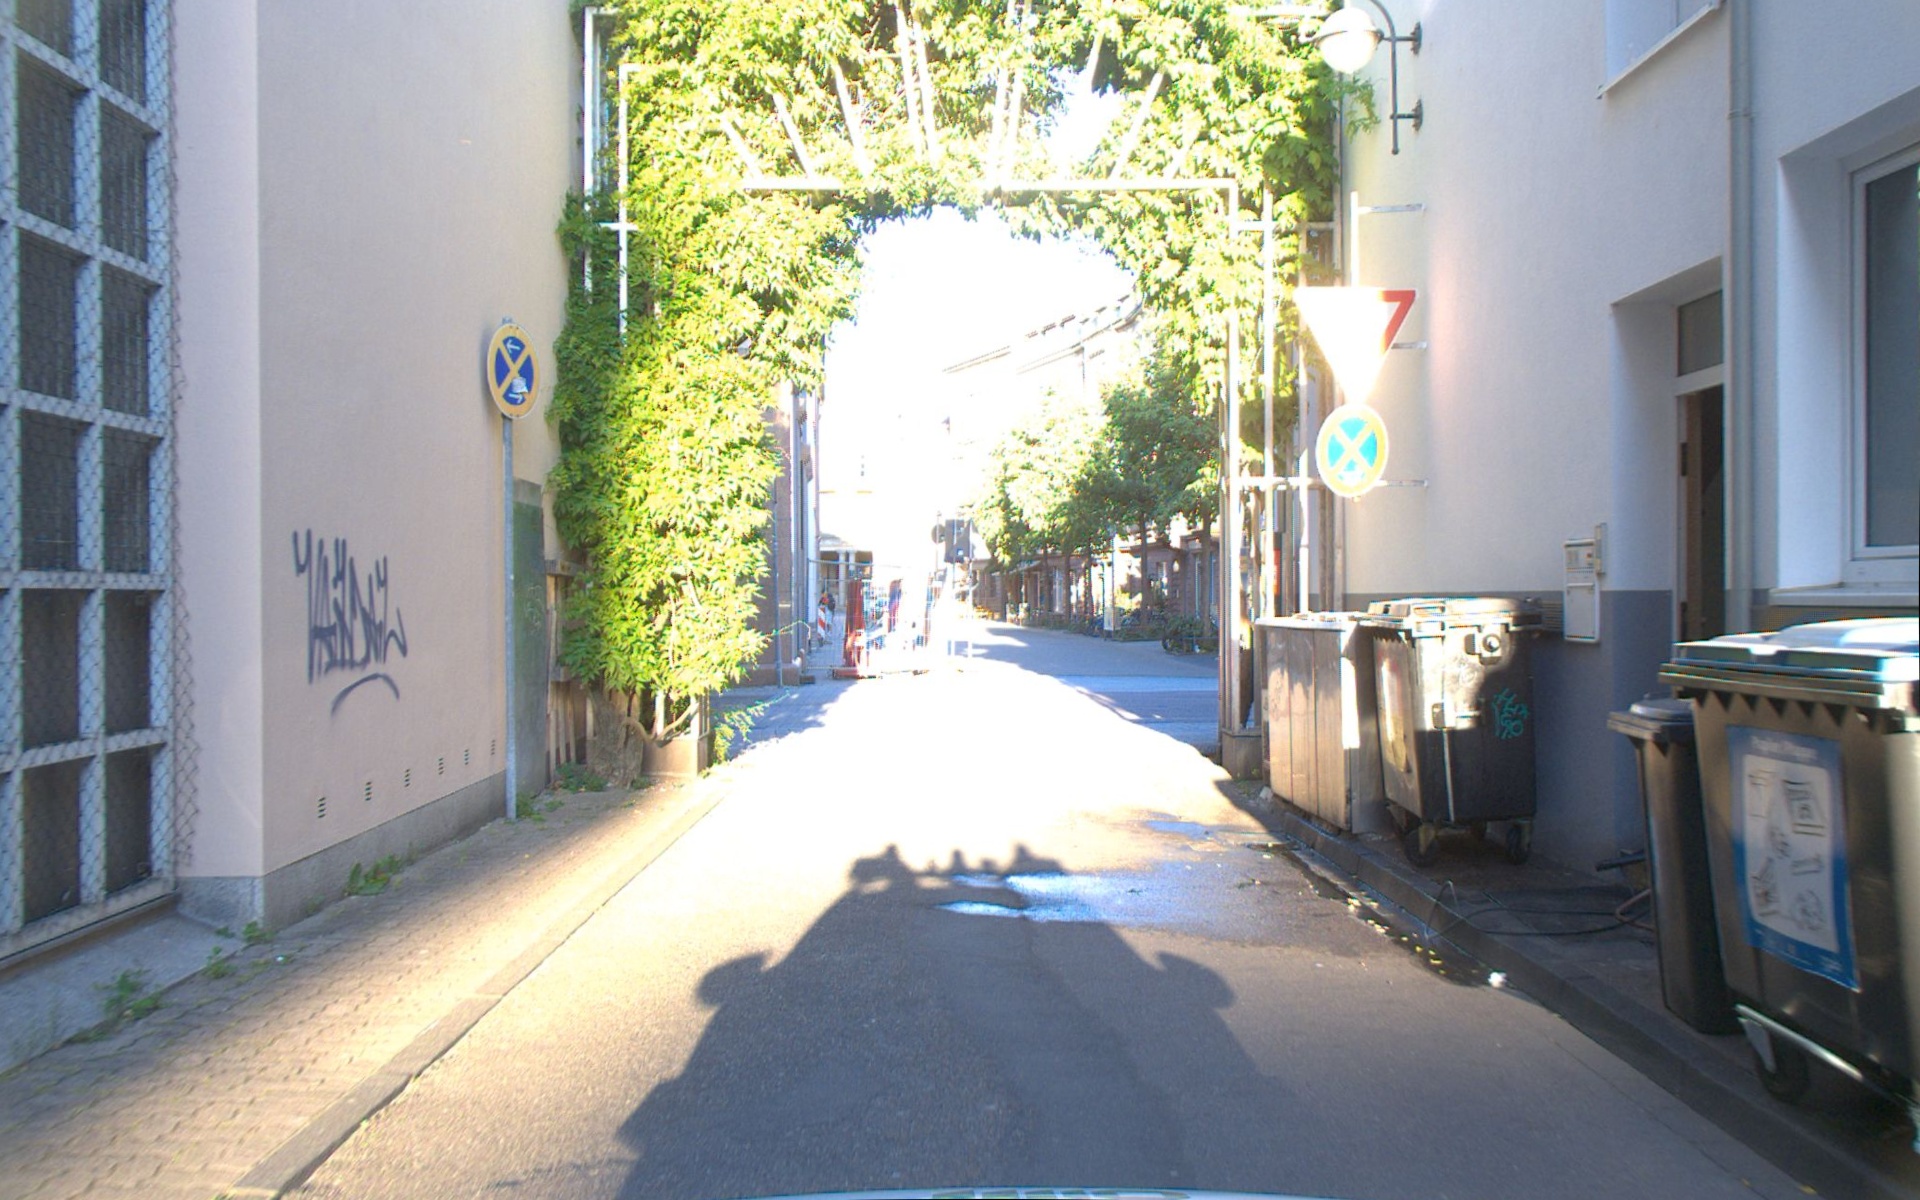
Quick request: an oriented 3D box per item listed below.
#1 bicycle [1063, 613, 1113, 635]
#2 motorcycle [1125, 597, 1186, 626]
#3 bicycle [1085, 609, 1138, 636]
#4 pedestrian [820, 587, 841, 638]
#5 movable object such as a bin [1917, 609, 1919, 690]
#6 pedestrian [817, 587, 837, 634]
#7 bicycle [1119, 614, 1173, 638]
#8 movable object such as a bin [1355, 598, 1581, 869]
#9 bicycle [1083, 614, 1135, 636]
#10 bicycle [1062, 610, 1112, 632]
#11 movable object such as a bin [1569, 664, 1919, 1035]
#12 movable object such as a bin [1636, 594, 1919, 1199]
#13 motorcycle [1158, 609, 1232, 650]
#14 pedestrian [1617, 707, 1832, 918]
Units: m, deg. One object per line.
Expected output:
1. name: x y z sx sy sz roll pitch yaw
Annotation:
1. bicycle: 5.577 1.043 72.139 2.113 0.942 0.589 -1 -1 -10
2. motorcycle: 7.784 0.467 65.784 2.439 1.114 0.586 -1 -1 -25
3. bicycle: 6.303 0.925 68.766 2.107 1.080 0.591 -1 -1 12
4. pedestrian: -4.666 0.447 59.527 0.641 1.795 0.634 -1 0 2
5. movable object such as a bin: 2.618 0.693 2.948 0.919 1.390 1.340 -3 0 -7
6. pedestrian: -4.840 0.377 60.199 0.641 1.680 0.634 -1 0 2
7. bicycle: 7.515 1.044 66.780 2.119 0.942 0.588 -1 -1 -18
8. movable object such as a bin: 2.721 0.676 9.006 0.818 1.327 1.290 -3 0 2
9. bicycle: 6.406 1.074 71.177 2.113 0.942 0.589 -1 -1 -10
10. bicycle: 5.641 0.935 73.251 2.113 0.942 0.589 -1 -1 -10
11. movable object such as a bin: 2.646 0.798 5.581 0.852 1.093 0.738 -3 0 -3
12. movable object such as a bin: 2.623 0.695 4.353 1.043 1.390 1.341 -3 0 -3
13. motorcycle: 6.995 0.890 49.333 2.111 1.171 0.493 -1 -1 -5
14. pedestrian: 3.373 0.922 7.350 0.596 0.824 0.720 1 1 -1
